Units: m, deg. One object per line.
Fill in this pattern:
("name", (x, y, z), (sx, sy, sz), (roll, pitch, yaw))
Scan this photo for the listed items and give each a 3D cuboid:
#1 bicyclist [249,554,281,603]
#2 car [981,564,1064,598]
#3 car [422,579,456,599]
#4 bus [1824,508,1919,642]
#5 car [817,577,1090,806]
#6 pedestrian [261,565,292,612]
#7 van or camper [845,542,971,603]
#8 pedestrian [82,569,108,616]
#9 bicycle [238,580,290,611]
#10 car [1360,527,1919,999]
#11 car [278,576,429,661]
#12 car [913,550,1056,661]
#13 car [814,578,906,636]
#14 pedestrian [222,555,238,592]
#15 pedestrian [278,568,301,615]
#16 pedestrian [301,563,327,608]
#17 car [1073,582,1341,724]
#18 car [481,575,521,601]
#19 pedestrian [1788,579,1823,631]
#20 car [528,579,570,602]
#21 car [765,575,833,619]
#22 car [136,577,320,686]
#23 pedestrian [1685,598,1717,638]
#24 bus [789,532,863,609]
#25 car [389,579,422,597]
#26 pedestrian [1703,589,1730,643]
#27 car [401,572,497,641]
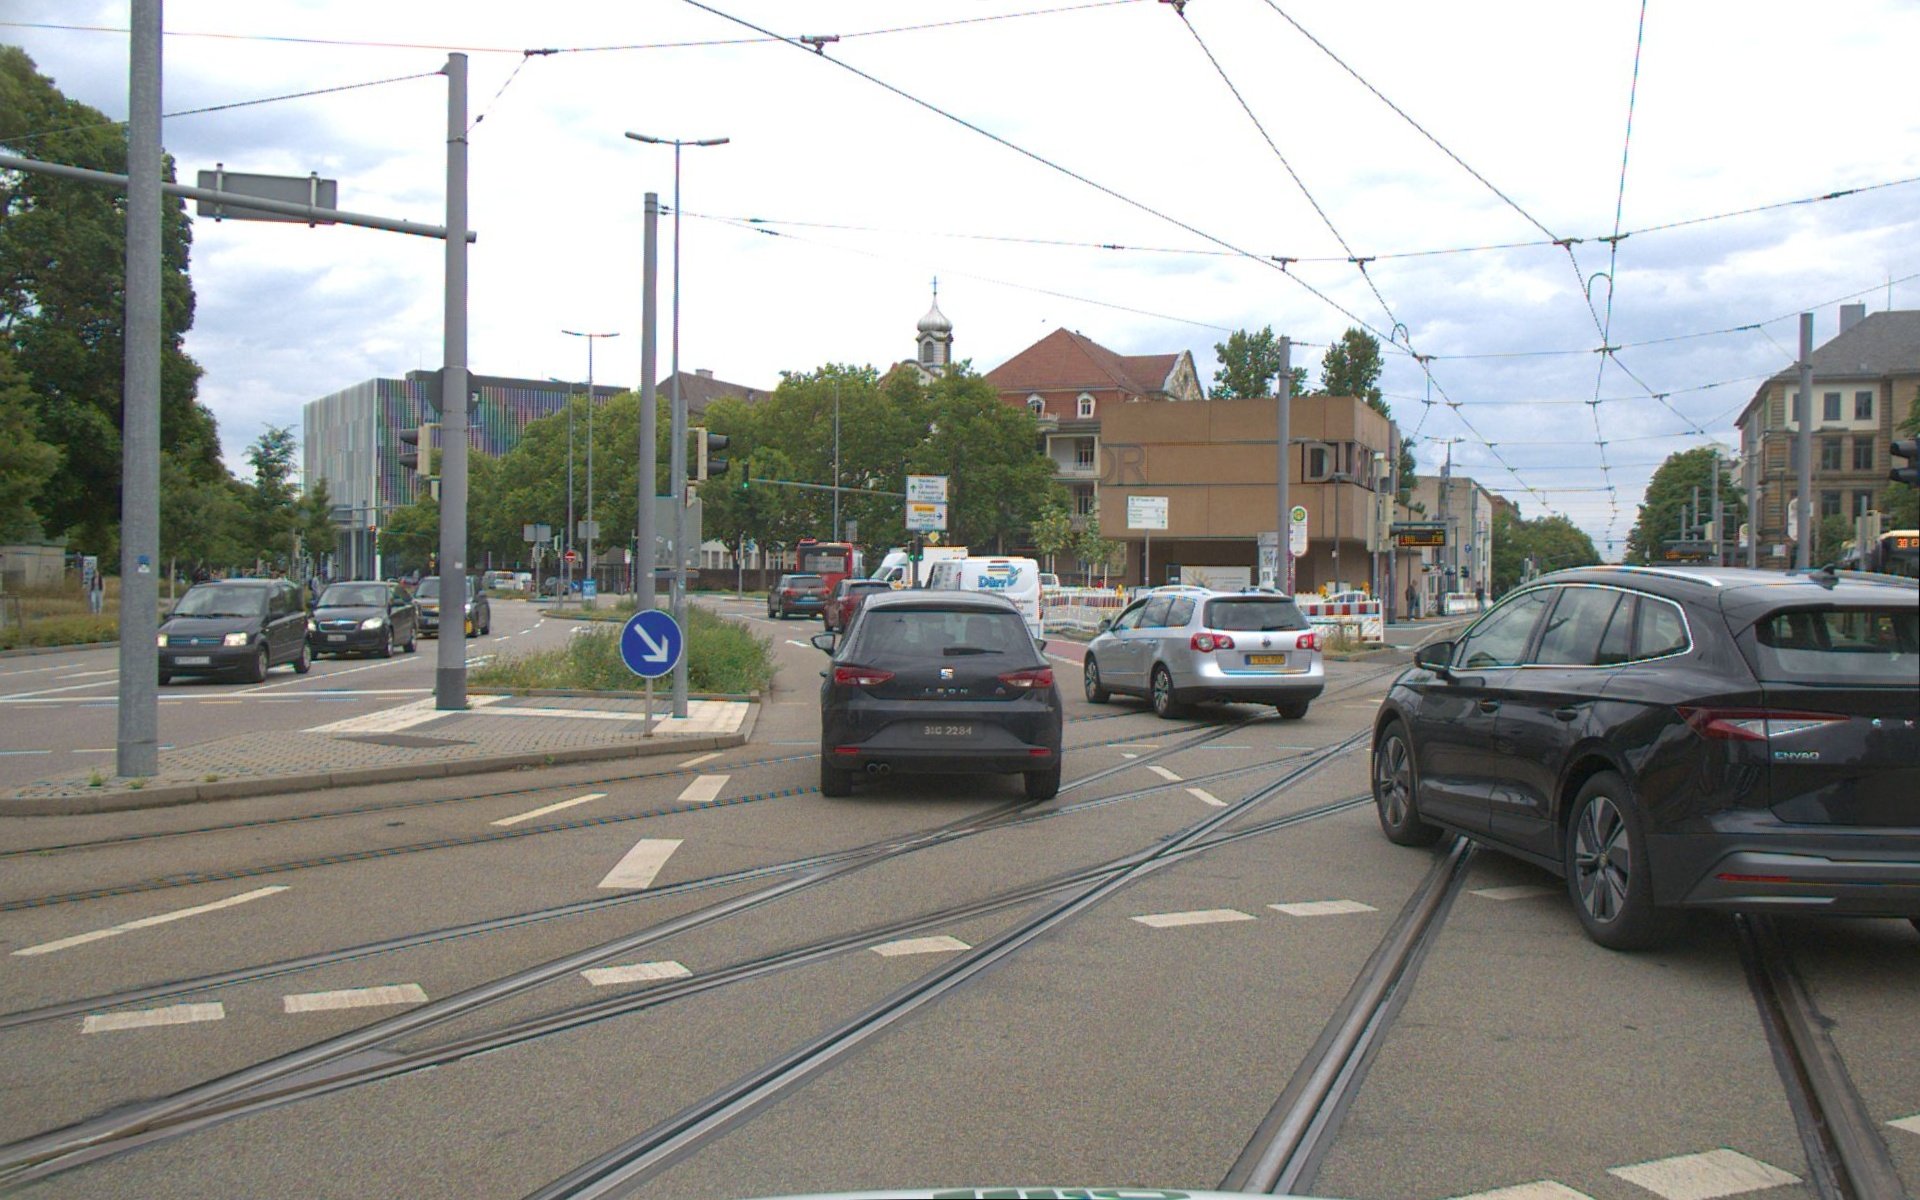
("bicyclist", (-27.171, -0.832, 64.668), (0.773, 1.876, 0.834), (1, 0, 17))
("car", (3.867, -1.143, 102.162), (4.943, 1.897, 1.977), (1, -3, -33))
("car", (-45.609, -0.987, 144.752), (1.974, 1.668, 3.956), (0, 1, -32))
("bus", (26.734, -0.573, 46.805), (2.955, 3.325, 13.037), (1, 0, 23))
("car", (-0.207, 0.589, 12.894), (1.712, 1.489, 3.995), (1, 0, -6))
("pedestrian", (-28.102, -0.466, 68.009), (1.030, 1.874, 0.863), (1, 0, -12))
("van or camper", (-3.019, -1.569, 97.715), (7.065, 3.390, 2.843), (1, -1, -34))
("pedestrian", (-29.286, -0.256, 56.000), (0.551, 1.568, 0.753), (1, 0, -12))
("bicycle", (-27.189, -0.187, 64.634), (0.772, 1.179, 1.907), (1, 0, 18))
("car", (3.582, 0.582, 8.226), (1.865, 1.687, 4.512), (1, 0, -3))
("car", (-11.878, 0.317, 32.695), (1.835, 1.534, 4.471), (-1, 1, -8))
("car", (0.394, 0.084, 33.599), (1.957, 2.054, 5.020), (1, 0, -10))
("car", (-3.045, 0.181, 49.664), (1.828, 1.628, 4.185), (1, 0, -17))
("pedestrian", (-40.825, -1.461, 92.512), (0.744, 2.049, 1.040), (1, 0, -21))
("pedestrian", (-27.048, -0.352, 66.721), (0.743, 1.874, 0.764), (0, 0, -12))
("pedestrian", (-27.395, -0.605, 70.122), (0.877, 1.874, 0.665), (1, 0, -12))
("car", (2.839, 0.540, 20.117), (1.690, 1.508, 4.614), (0, 1, -12))
("car", (-36.290, -0.964, 130.739), (1.975, 2.049, 3.955), (0, 0, -33))
("pedestrian", (27.789, 0.157, 54.351), (0.985, 1.673, 1.020), (1, 0, 27))
("car", (-30.208, -0.713, 121.475), (1.900, 1.713, 3.955), (0, 1, -33))
("car", (-6.187, -0.148, 63.203), (1.960, 1.593, 4.189), (1, 0, -15))
("car", (-11.033, 0.426, 25.178), (1.588, 1.542, 3.659), (0, 0, -8))
("pedestrian", (27.110, 0.666, 60.483), (0.998, 1.427, 1.006), (1, 0, 27))
("bus", (-6.342, -1.345, 79.868), (2.997, 3.355, 12.373), (1, 0, -2))
("car", (-51.413, -1.127, 153.362), (1.976, 1.711, 3.965), (0, 1, -33))
("pedestrian", (26.178, 0.535, 57.225), (0.808, 1.840, 1.020), (1, 0, 27))
("car", (-13.696, 0.144, 44.559), (1.836, 1.755, 4.702), (0, 0, -9))
